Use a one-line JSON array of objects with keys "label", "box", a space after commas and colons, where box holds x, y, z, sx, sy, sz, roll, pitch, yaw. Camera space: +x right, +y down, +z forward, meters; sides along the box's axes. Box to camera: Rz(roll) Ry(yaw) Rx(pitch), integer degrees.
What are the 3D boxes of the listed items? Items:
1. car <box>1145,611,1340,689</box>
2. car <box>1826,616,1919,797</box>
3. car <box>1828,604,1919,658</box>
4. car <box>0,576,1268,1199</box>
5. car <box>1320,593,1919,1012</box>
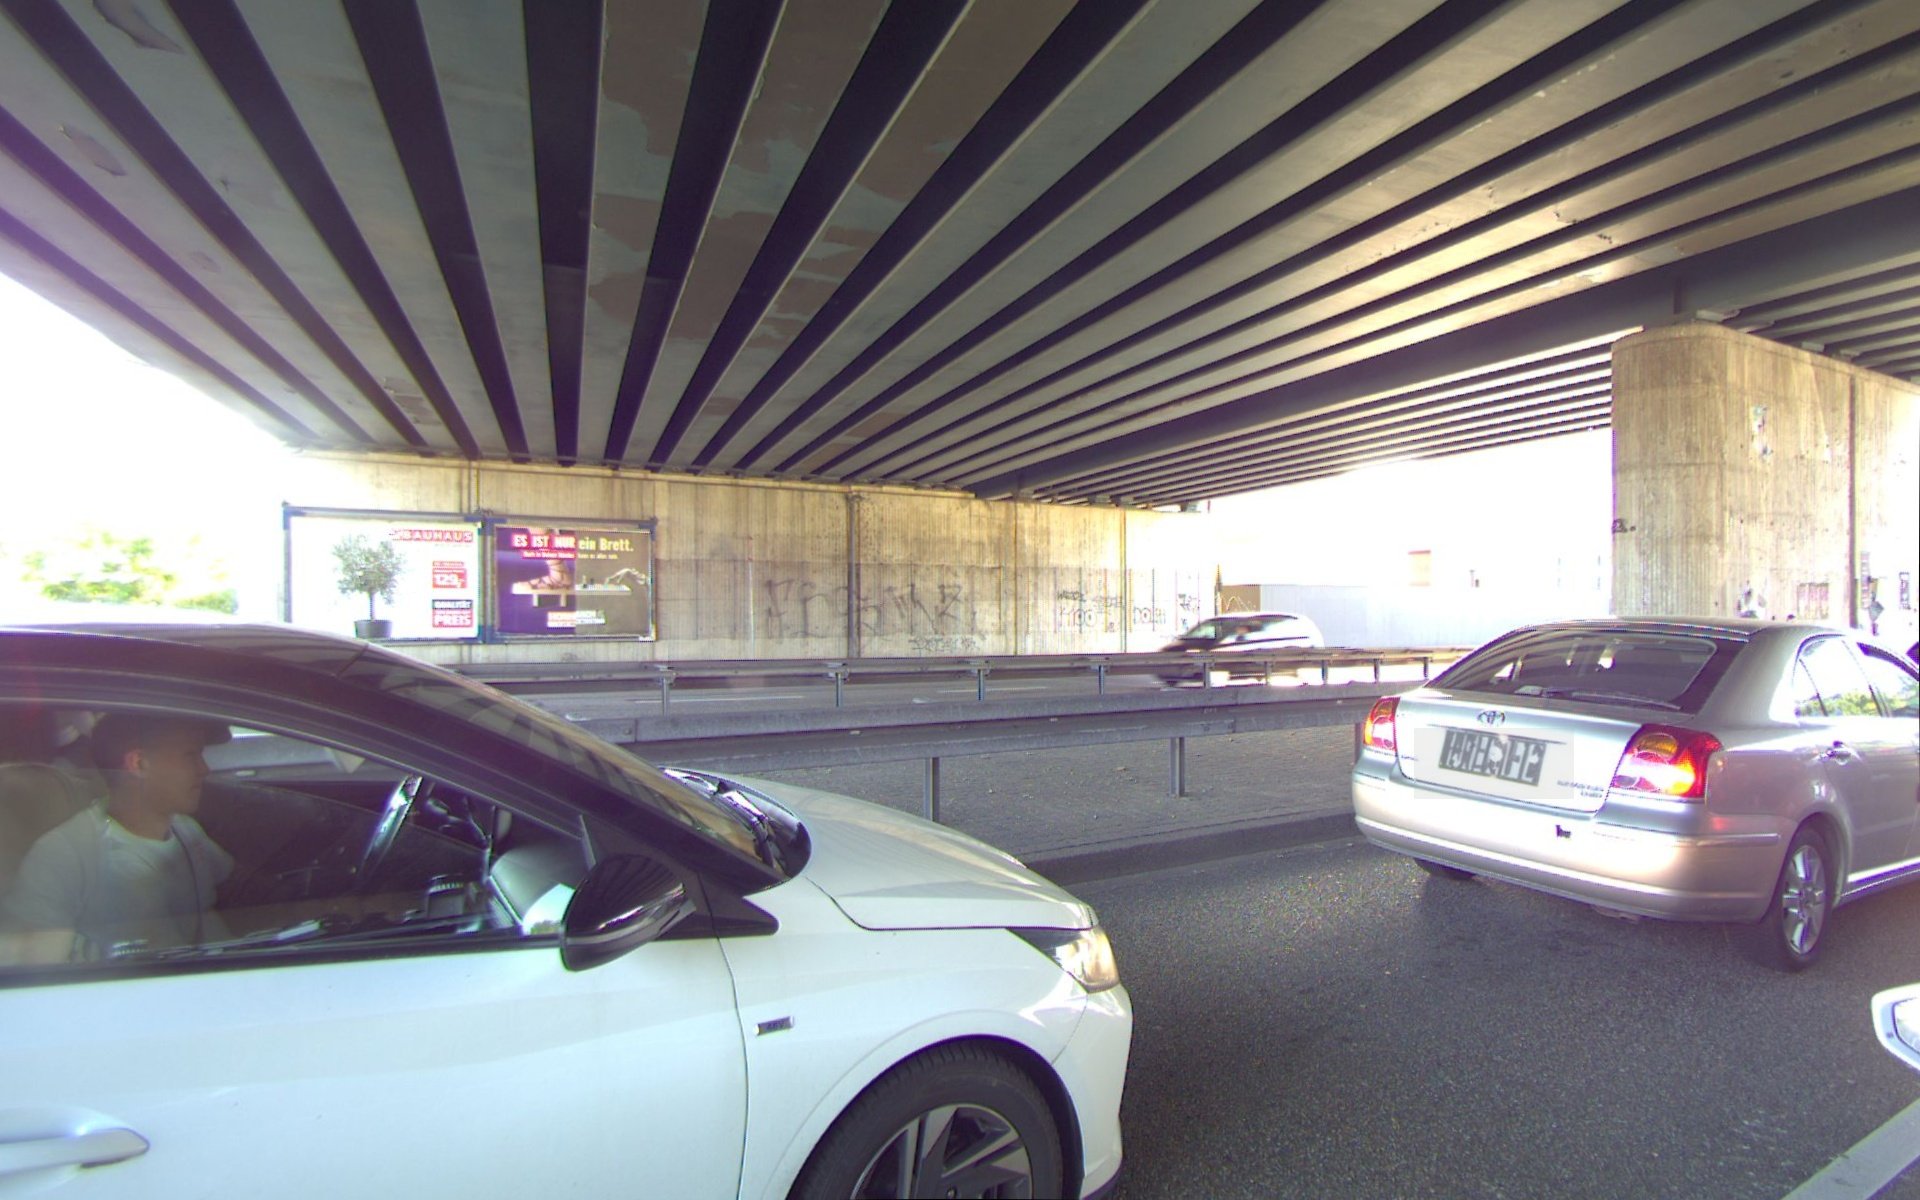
[{"label": "car", "box": [6.337, 1.056, 22.506, 4.130, 1.609, 1.817, 0, -1, -28]}, {"label": "car", "box": [9.540, 0.884, 8.868, 3.687, 1.457, 1.804, 0, 0, -31]}, {"label": "car", "box": [26.958, 0.874, 28.090, 3.682, 1.467, 1.696, 1, -1, 11]}, {"label": "car", "box": [-1.426, 0.728, 1.972, 3.946, 1.499, 1.724, 1, -1, -32]}, {"label": "car", "box": [4.083, 0.771, 5.463, 4.270, 1.499, 1.724, 1, -1, -32]}]
